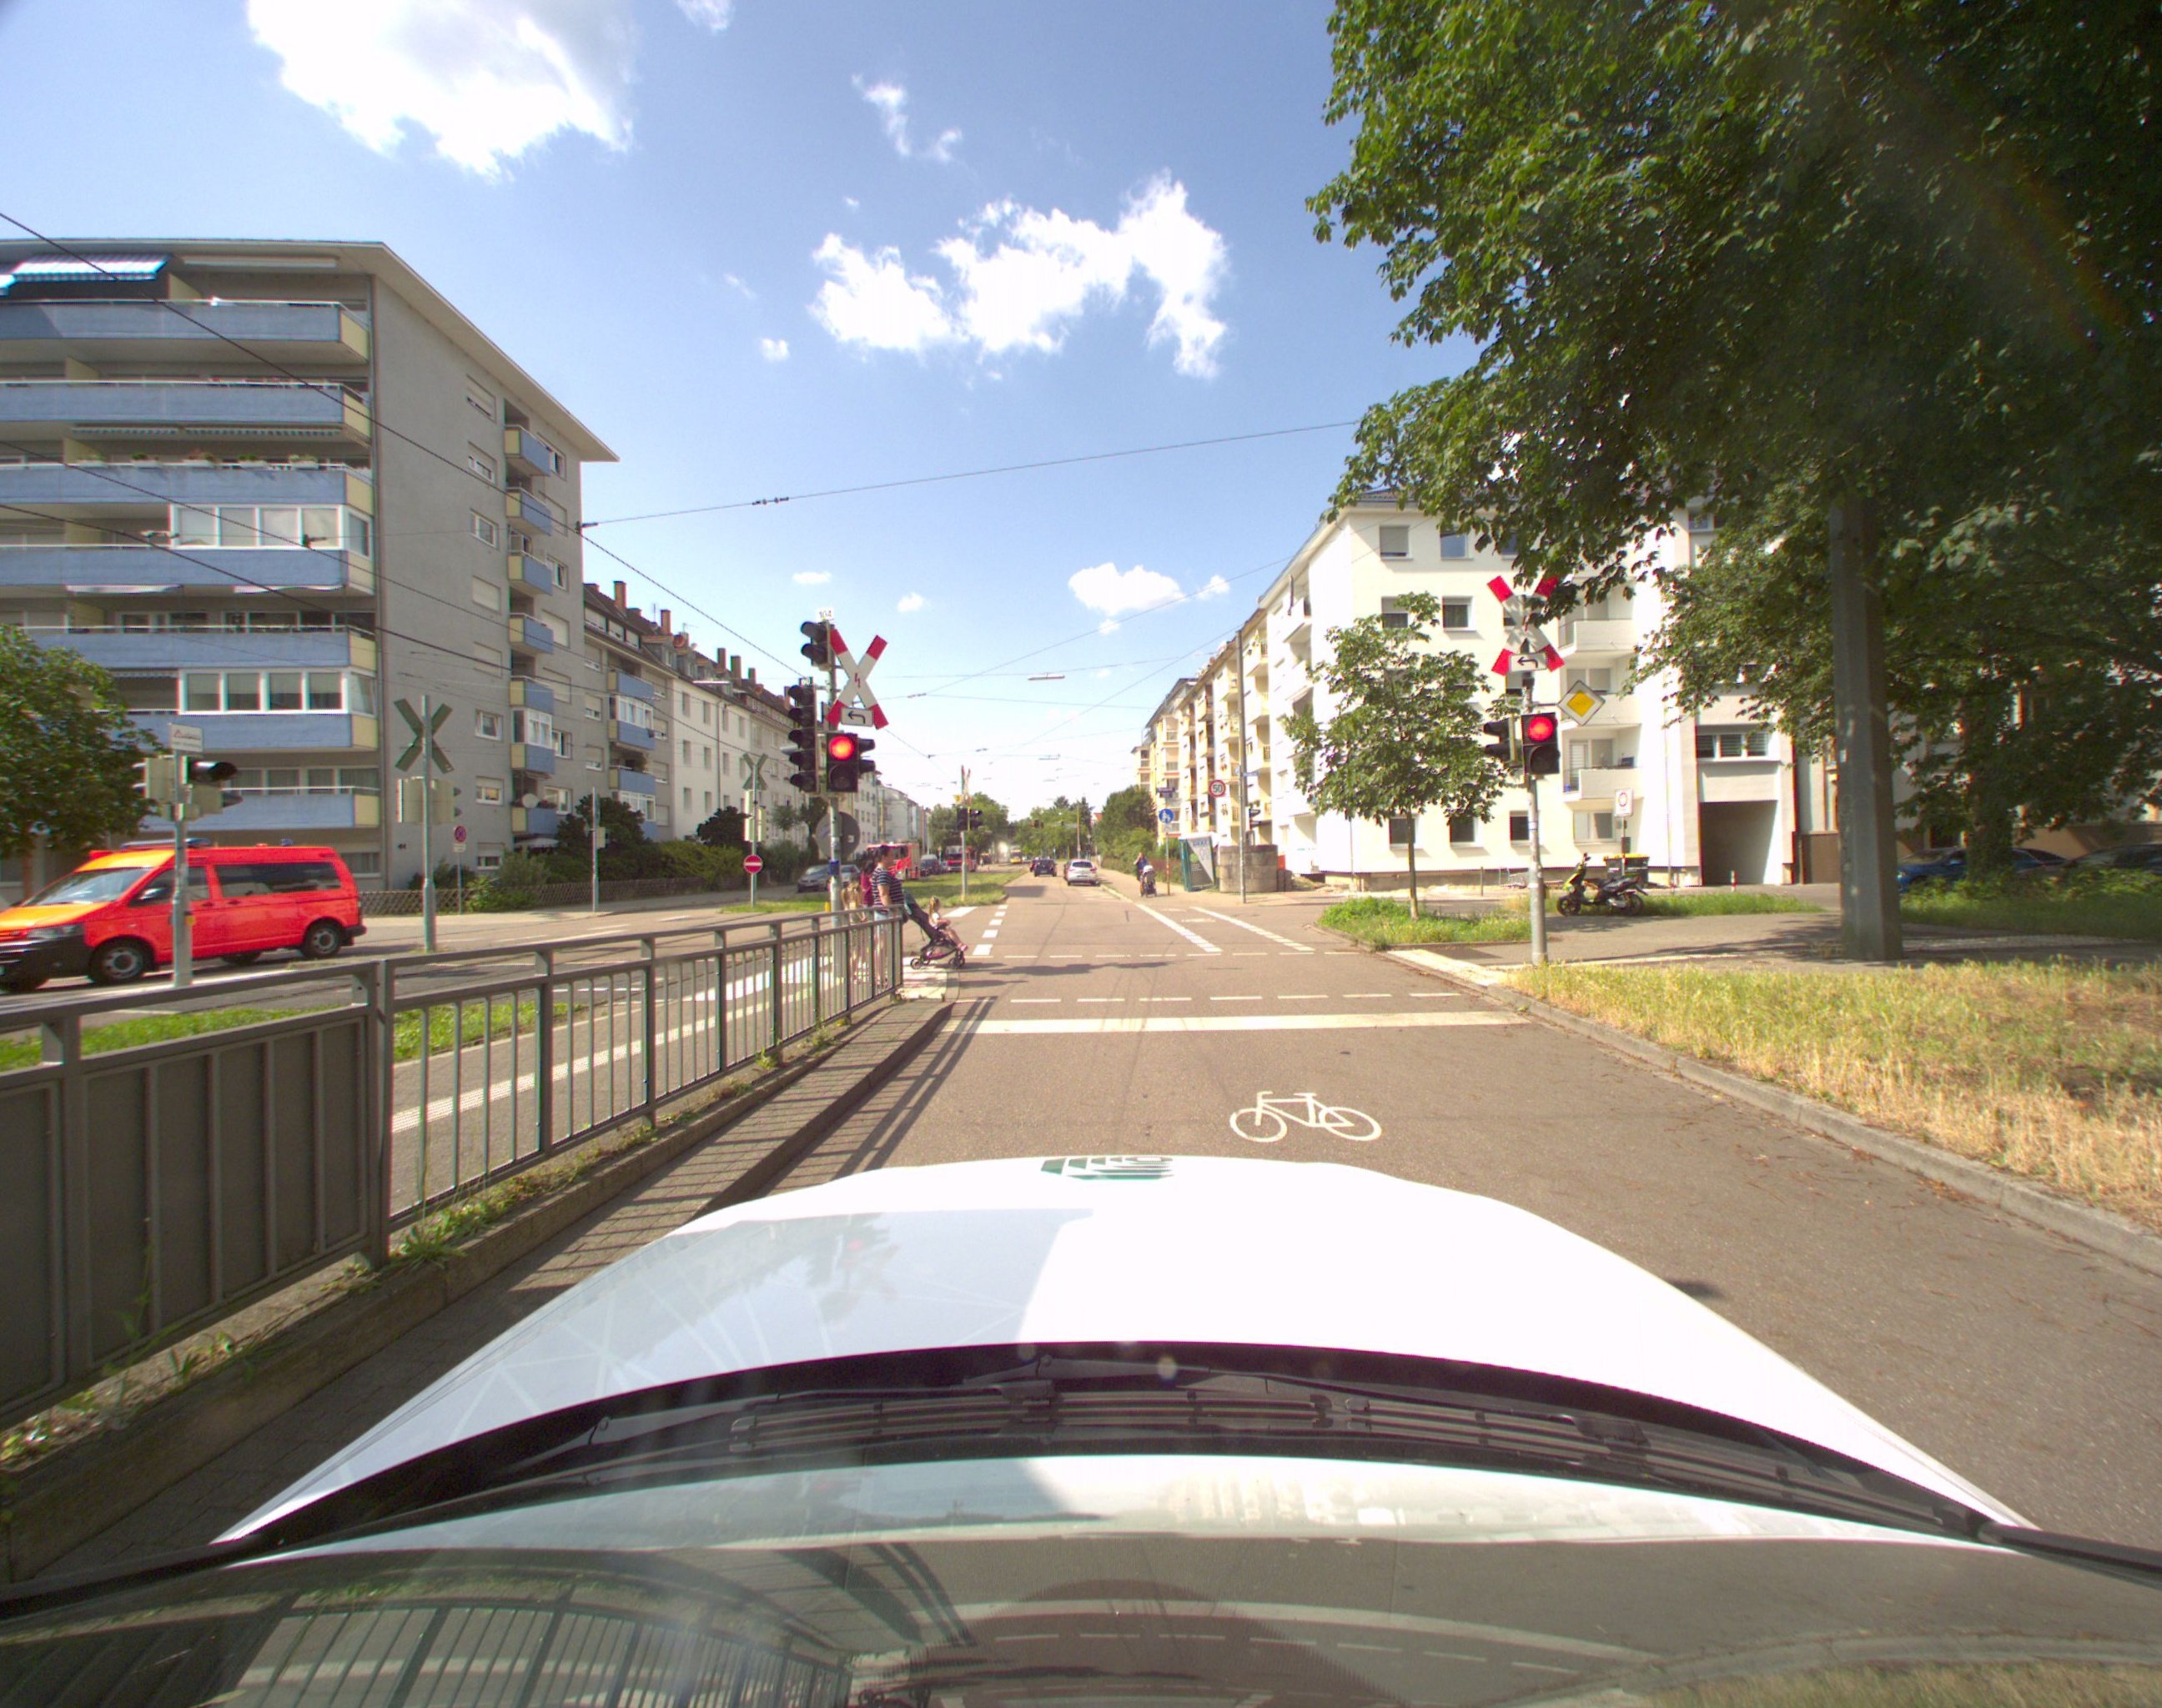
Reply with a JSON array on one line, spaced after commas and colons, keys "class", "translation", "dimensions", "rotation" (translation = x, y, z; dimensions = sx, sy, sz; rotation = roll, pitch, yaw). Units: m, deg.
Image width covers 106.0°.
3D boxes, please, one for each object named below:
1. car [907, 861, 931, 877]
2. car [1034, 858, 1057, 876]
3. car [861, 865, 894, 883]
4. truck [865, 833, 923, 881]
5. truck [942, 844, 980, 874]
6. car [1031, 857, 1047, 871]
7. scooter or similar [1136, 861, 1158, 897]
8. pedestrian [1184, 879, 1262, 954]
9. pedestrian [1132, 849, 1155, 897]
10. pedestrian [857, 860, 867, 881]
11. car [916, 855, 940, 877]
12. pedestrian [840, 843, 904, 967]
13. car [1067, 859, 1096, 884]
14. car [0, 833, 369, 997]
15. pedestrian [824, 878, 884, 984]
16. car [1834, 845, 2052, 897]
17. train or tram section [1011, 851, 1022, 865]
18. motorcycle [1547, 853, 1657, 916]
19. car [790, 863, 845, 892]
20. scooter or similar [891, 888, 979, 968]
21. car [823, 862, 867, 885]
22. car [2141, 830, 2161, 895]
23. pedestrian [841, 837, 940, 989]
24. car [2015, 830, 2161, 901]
[{"class": "car", "translation": [-17.047, 1.579, 85.795], "dimensions": [1.905, 1.711, 3.996], "rotation": [0, -1, -3]}, {"class": "car", "translation": [-2.984, 1.078, 68.603], "dimensions": [1.738, 1.507, 3.999], "rotation": [0, -1, 0]}, {"class": "car", "translation": [-16.188, 1.567, 64.983], "dimensions": [1.763, 1.442, 3.997], "rotation": [0, -1, -2]}, {"class": "truck", "translation": [-13.327, 0.231, 58.788], "dimensions": [2.590, 3.186, 8.374], "rotation": [0, -1, -2]}, {"class": "truck", "translation": [-14.480, 0.657, 99.041], "dimensions": [2.655, 3.471, 10.175], "rotation": [0, -1, 3]}, {"class": "car", "translation": [-4.747, 1.150, 93.189], "dimensions": [1.739, 1.507, 3.997], "rotation": [0, -1, -1]}, {"class": "scooter or similar", "translation": [2.504, 0.945, 31.152], "dimensions": [0.660, 1.303, 0.868], "rotation": [-5, 0, -1]}, {"class": "pedestrian", "translation": [4.252, 1.823, 25.016], "dimensions": [1.984, 2.014, 4.004], "rotation": [0, -1, 4]}, {"class": "pedestrian", "translation": [2.468, 0.726, 32.006], "dimensions": [0.699, 1.789, 1.030], "rotation": [-4, 0, 0]}, {"class": "pedestrian", "translation": [-19.175, 1.464, 71.264], "dimensions": [0.704, 1.794, 0.863], "rotation": [-2, 0, -5]}, {"class": "car", "translation": [-17.298, 1.334, 92.245], "dimensions": [1.963, 2.370, 5.197], "rotation": [0, -1, -2]}, {"class": "pedestrian", "translation": [-2.857, 0.685, 11.185], "dimensions": [0.704, 1.648, 0.636], "rotation": [1, -1, -3]}, {"class": "car", "translation": [0.020, 1.029, 48.417], "dimensions": [1.617, 1.465, 3.509], "rotation": [0, -1, -1]}, {"class": "car", "translation": [-15.473, 0.909, 13.955], "dimensions": [1.985, 2.275, 4.838], "rotation": [-4, 0, 3]}, {"class": "pedestrian", "translation": [-2.757, 0.900, 9.856], "dimensions": [0.638, 1.180, 0.794], "rotation": [-2, -1, -18]}, {"class": "car", "translation": [24.465, 0.482, 23.253], "dimensions": [4.145, 1.413, 1.783], "rotation": [0, -1, 5]}, {"class": "train or tram section", "translation": [-14.756, 0.931, 187.178], "dimensions": [2.254, 3.069, 8.122], "rotation": [-2, 0, -4]}, {"class": "motorcycle", "translation": [11.040, 0.646, 17.334], "dimensions": [0.574, 1.215, 1.829], "rotation": [-6, 1, -30]}, {"class": "car", "translation": [-15.777, 1.392, 48.985], "dimensions": [1.987, 1.645, 3.999], "rotation": [0, -1, 0]}, {"class": "scooter or similar", "translation": [-2.000, 1.005, 11.253], "dimensions": [1.097, 1.056, 0.650], "rotation": [0, -1, -2]}, {"class": "car", "translation": [-15.900, 1.287, 55.007], "dimensions": [1.762, 1.442, 3.999], "rotation": [0, -1, 0]}, {"class": "car", "translation": [26.029, 0.175, 17.462], "dimensions": [1.794, 1.539, 4.013], "rotation": [-2, 0, 11]}, {"class": "pedestrian", "translation": [-2.246, 0.659, 9.593], "dimensions": [0.852, 1.667, 0.790], "rotation": [-1, -1, -36]}, {"class": "car", "translation": [23.222, 0.211, 17.507], "dimensions": [1.733, 1.459, 4.001], "rotation": [-2, 0, 1]}]
